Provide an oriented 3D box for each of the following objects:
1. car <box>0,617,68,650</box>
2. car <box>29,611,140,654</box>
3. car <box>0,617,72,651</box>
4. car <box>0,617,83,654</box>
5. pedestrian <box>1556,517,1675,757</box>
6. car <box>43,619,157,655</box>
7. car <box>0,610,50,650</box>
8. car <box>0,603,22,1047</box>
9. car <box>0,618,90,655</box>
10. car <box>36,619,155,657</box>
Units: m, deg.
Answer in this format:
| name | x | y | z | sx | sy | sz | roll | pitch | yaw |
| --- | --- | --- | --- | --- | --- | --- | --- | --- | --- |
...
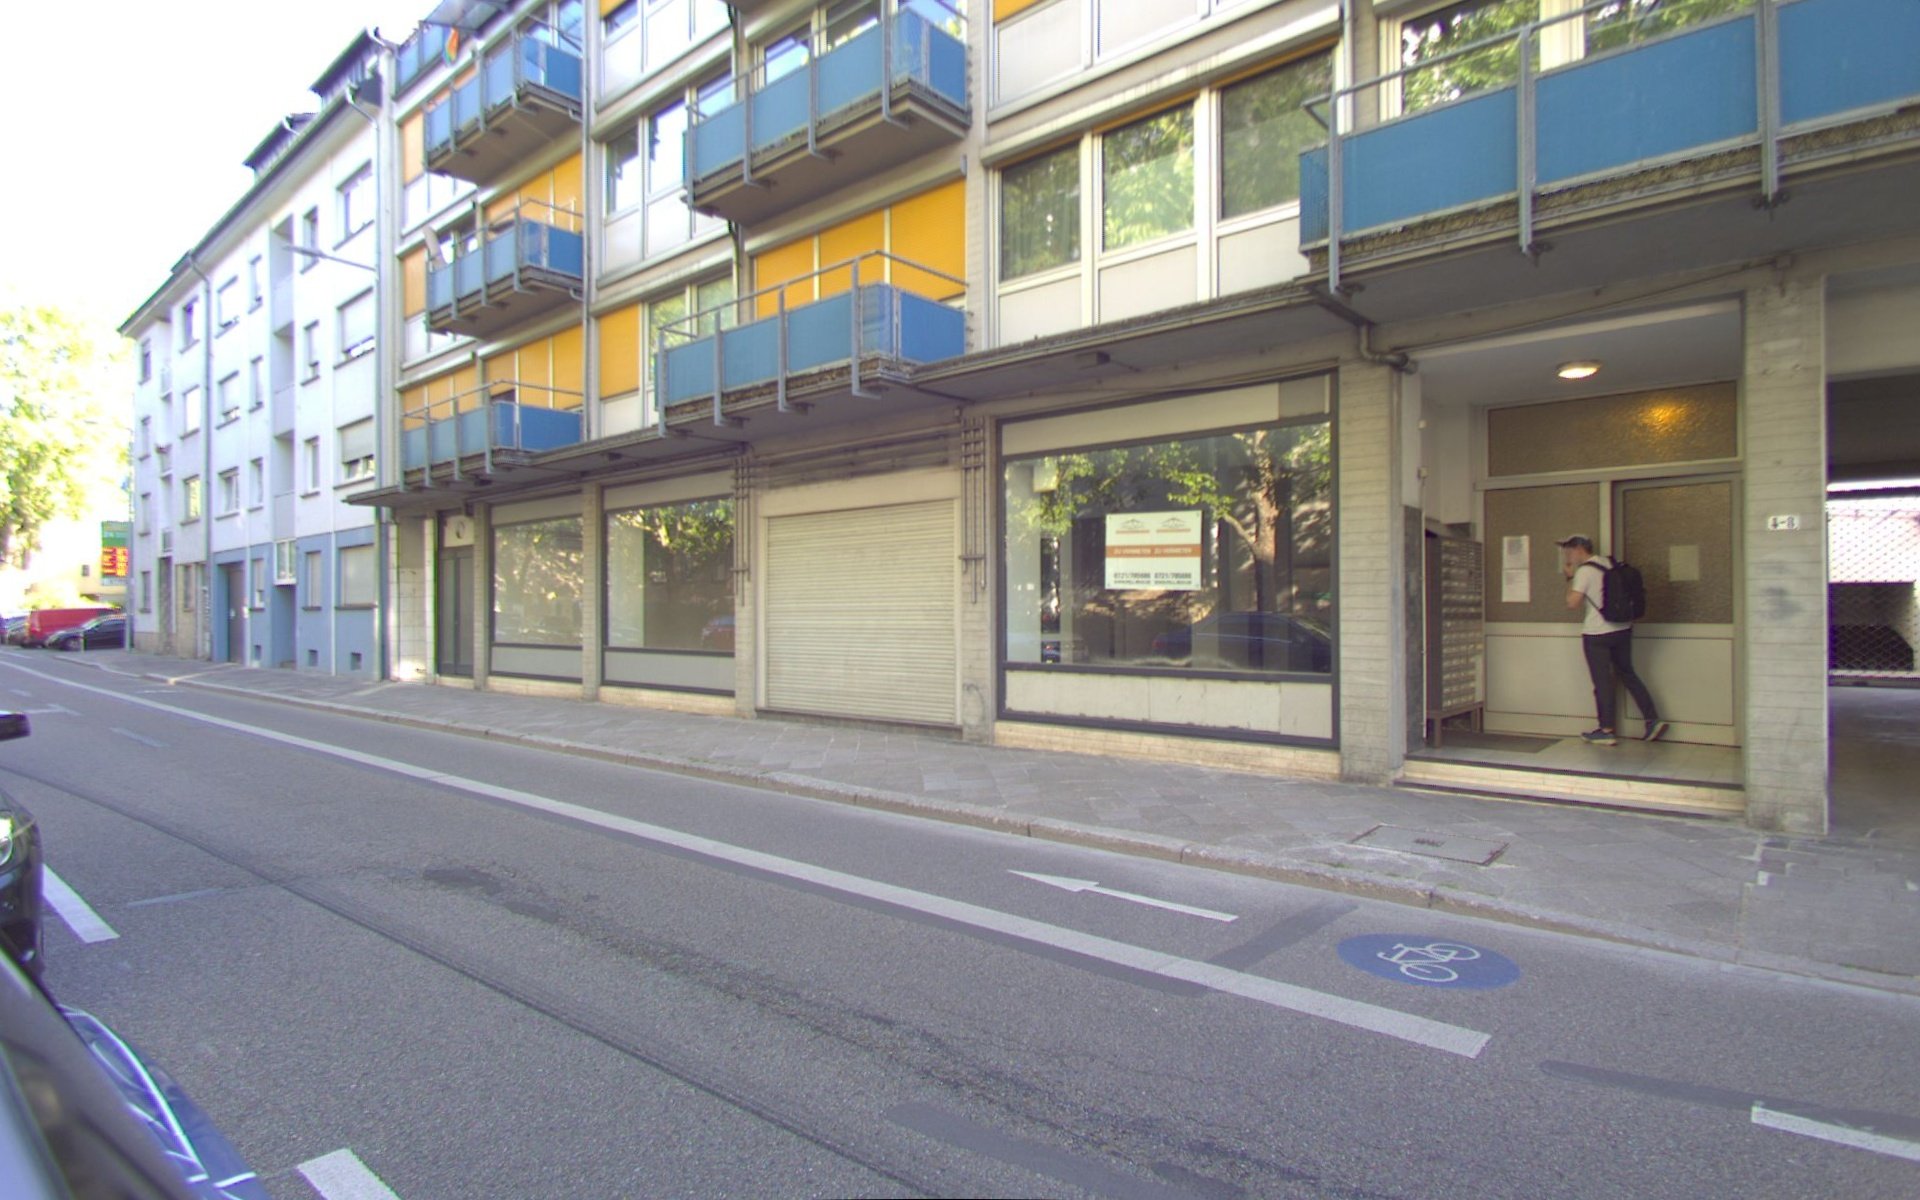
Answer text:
| name | x | y | z | sx | sy | sz | roll | pitch | yaw |
| --- | --- | --- | --- | --- | --- | --- | --- | --- | --- |
| car | -59.211 | 2.111 | 64.010 | 2.000 | 1.962 | 3.944 | -1 | 0 | 42 |
| car | -43.433 | 1.574 | 50.247 | 2.000 | 1.962 | 3.944 | -1 | 0 | 42 |
| car | -57.411 | 2.087 | 62.277 | 2.000 | 1.962 | 3.944 | -1 | 0 | 42 |
| car | -53.524 | 2.037 | 58.607 | 2.000 | 1.962 | 3.944 | -1 | 0 | 42 |
| pedestrian | 5.458 | 0.294 | 8.437 | 0.785 | 1.894 | 0.575 | -1 | 0 | 35 |
| car | -41.178 | 1.744 | 48.522 | 2.000 | 1.564 | 3.944 | -1 | 0 | 42 |
| car | -62.803 | 1.958 | 66.779 | 2.000 | 2.538 | 3.944 | -1 | 0 | 42 |
| car | -5.524 | 0.807 | 4.276 | 4.479 | 1.512 | 1.842 | -1 | -1 | 41 |
| car | -51.573 | 2.012 | 56.824 | 2.000 | 1.962 | 3.944 | -1 | 0 | 42 |
| car | -39.760 | 1.726 | 46.601 | 2.000 | 1.564 | 3.944 | -1 | 0 | 42 |
